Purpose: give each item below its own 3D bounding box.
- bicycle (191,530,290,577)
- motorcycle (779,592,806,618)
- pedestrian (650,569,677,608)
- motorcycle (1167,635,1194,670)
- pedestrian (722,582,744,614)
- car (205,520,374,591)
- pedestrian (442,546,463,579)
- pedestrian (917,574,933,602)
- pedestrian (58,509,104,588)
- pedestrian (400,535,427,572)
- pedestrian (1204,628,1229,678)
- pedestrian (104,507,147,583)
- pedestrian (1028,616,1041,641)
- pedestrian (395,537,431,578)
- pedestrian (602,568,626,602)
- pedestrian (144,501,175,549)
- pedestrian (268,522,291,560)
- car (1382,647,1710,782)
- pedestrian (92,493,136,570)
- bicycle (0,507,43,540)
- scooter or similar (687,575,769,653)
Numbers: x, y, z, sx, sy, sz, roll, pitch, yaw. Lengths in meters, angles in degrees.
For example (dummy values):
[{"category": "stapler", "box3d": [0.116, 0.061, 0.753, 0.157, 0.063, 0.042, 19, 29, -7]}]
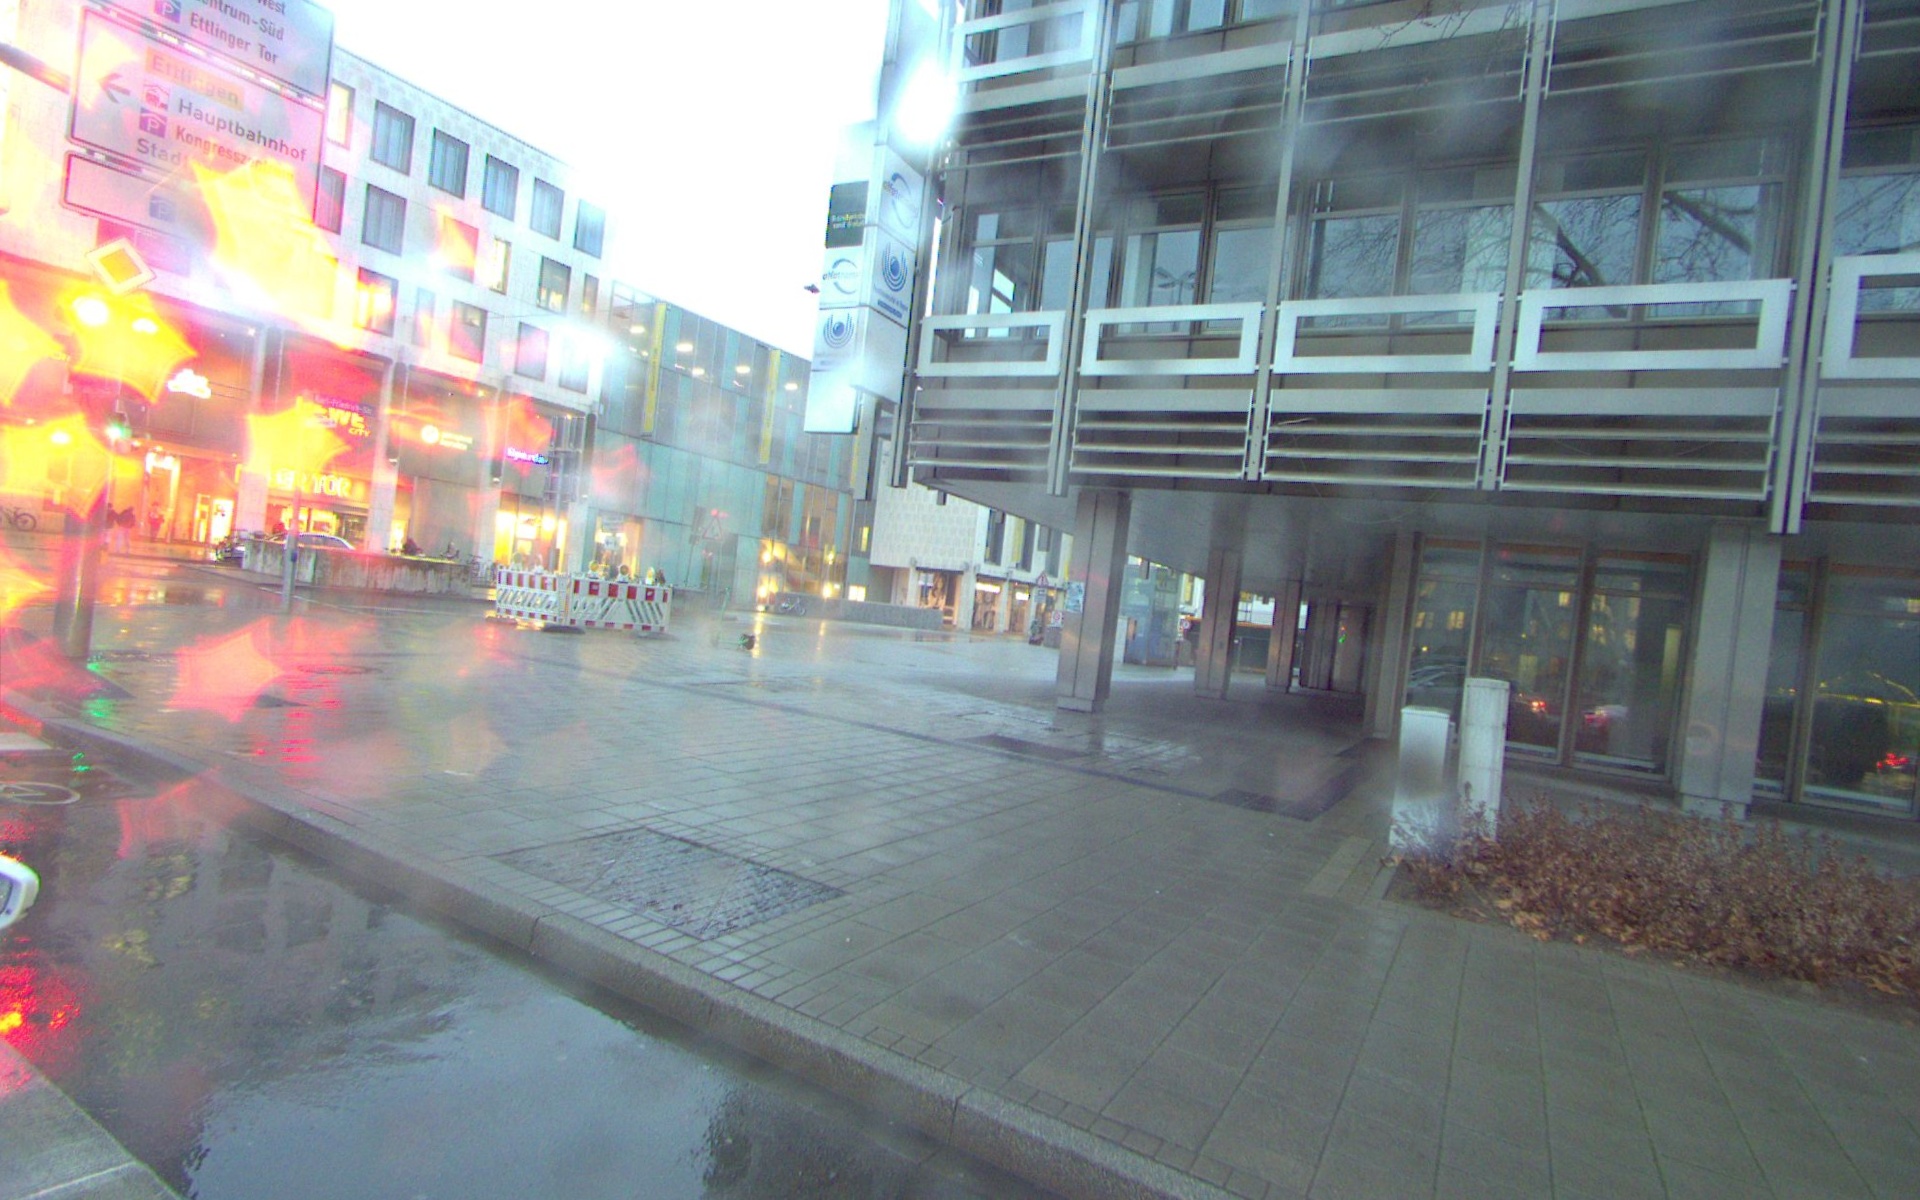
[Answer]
[{"category": "bicycle", "box3d": [-26.340, -1.682, 36.879, 0.941, 1.375, 2.718, 6, -1, 28]}, {"category": "motorcycle", "box3d": [-10.165, 0.294, 61.150, 0.585, 1.368, 1.491, 7, -1, 36]}, {"category": "pedestrian", "box3d": [-14.127, -0.545, 47.878, 0.770, 1.703, 0.742, 6, -1, 38]}, {"category": "motorcycle", "box3d": [9.703, 2.323, 44.203, 0.584, 1.368, 1.493, 7, -1, 29]}, {"category": "pedestrian", "box3d": [-13.062, -0.121, 57.899, 0.770, 1.703, 0.742, 6, -1, 38]}, {"category": "car", "box3d": [-21.687, -1.405, 32.686, 1.968, 1.636, 3.994, 6, -2, 33]}, {"category": "pedestrian", "box3d": [-24.600, -1.823, 48.801, 0.511, 1.512, 0.586, 6, 0, 34]}, {"category": "pedestrian", "box3d": [-2.231, -0.775, 64.051, 0.573, 1.703, 0.542, 6, -1, 38]}, {"category": "pedestrian", "box3d": [-28.956, -1.695, 33.129, 0.745, 2.469, 0.716, 7, -1, 31]}, {"category": "pedestrian", "box3d": [-26.507, -2.243, 48.771, 0.519, 1.705, 0.894, 6, 0, 31]}, {"category": "pedestrian", "box3d": [9.689, 2.002, 37.981, 0.678, 1.796, 0.660, 7, -1, 16]}, {"category": "pedestrian", "box3d": [-28.845, -1.904, 34.786, 0.778, 2.477, 0.694, 7, -1, 32]}, {"category": "pedestrian", "box3d": [5.441, 2.083, 73.679, 0.573, 1.703, 0.542, 6, -1, 38]}, {"category": "pedestrian", "box3d": [-25.189, -1.961, 46.326, 0.810, 1.703, 1.032, 6, -2, 31]}, {"category": "pedestrian", "box3d": [-18.788, -0.823, 54.658, 0.770, 1.703, 0.742, 6, -1, 38]}, {"category": "pedestrian", "box3d": [-36.016, -3.372, 45.262, 0.688, 2.039, 0.845, 7, 1, 40]}, {"category": "pedestrian", "box3d": [-32.967, -2.875, 48.758, 0.729, 1.740, 0.733, 6, 1, -31]}, {"category": "car", "box3d": [8.703, 1.623, 15.181, 3.935, 1.327, 1.994, 6, 1, 33]}, {"category": "pedestrian", "box3d": [-28.468, -2.302, 33.858, 0.745, 2.469, 0.691, 7, -1, 31]}, {"category": "bicycle", "box3d": [-36.417, -2.981, 38.604, 0.515, 1.082, 1.651, 7, -2, 28]}, {"category": "scooter or similar", "box3d": [-4.669, 0.276, 20.225, 1.470, 1.368, 0.593, 7, -1, 32]}]
